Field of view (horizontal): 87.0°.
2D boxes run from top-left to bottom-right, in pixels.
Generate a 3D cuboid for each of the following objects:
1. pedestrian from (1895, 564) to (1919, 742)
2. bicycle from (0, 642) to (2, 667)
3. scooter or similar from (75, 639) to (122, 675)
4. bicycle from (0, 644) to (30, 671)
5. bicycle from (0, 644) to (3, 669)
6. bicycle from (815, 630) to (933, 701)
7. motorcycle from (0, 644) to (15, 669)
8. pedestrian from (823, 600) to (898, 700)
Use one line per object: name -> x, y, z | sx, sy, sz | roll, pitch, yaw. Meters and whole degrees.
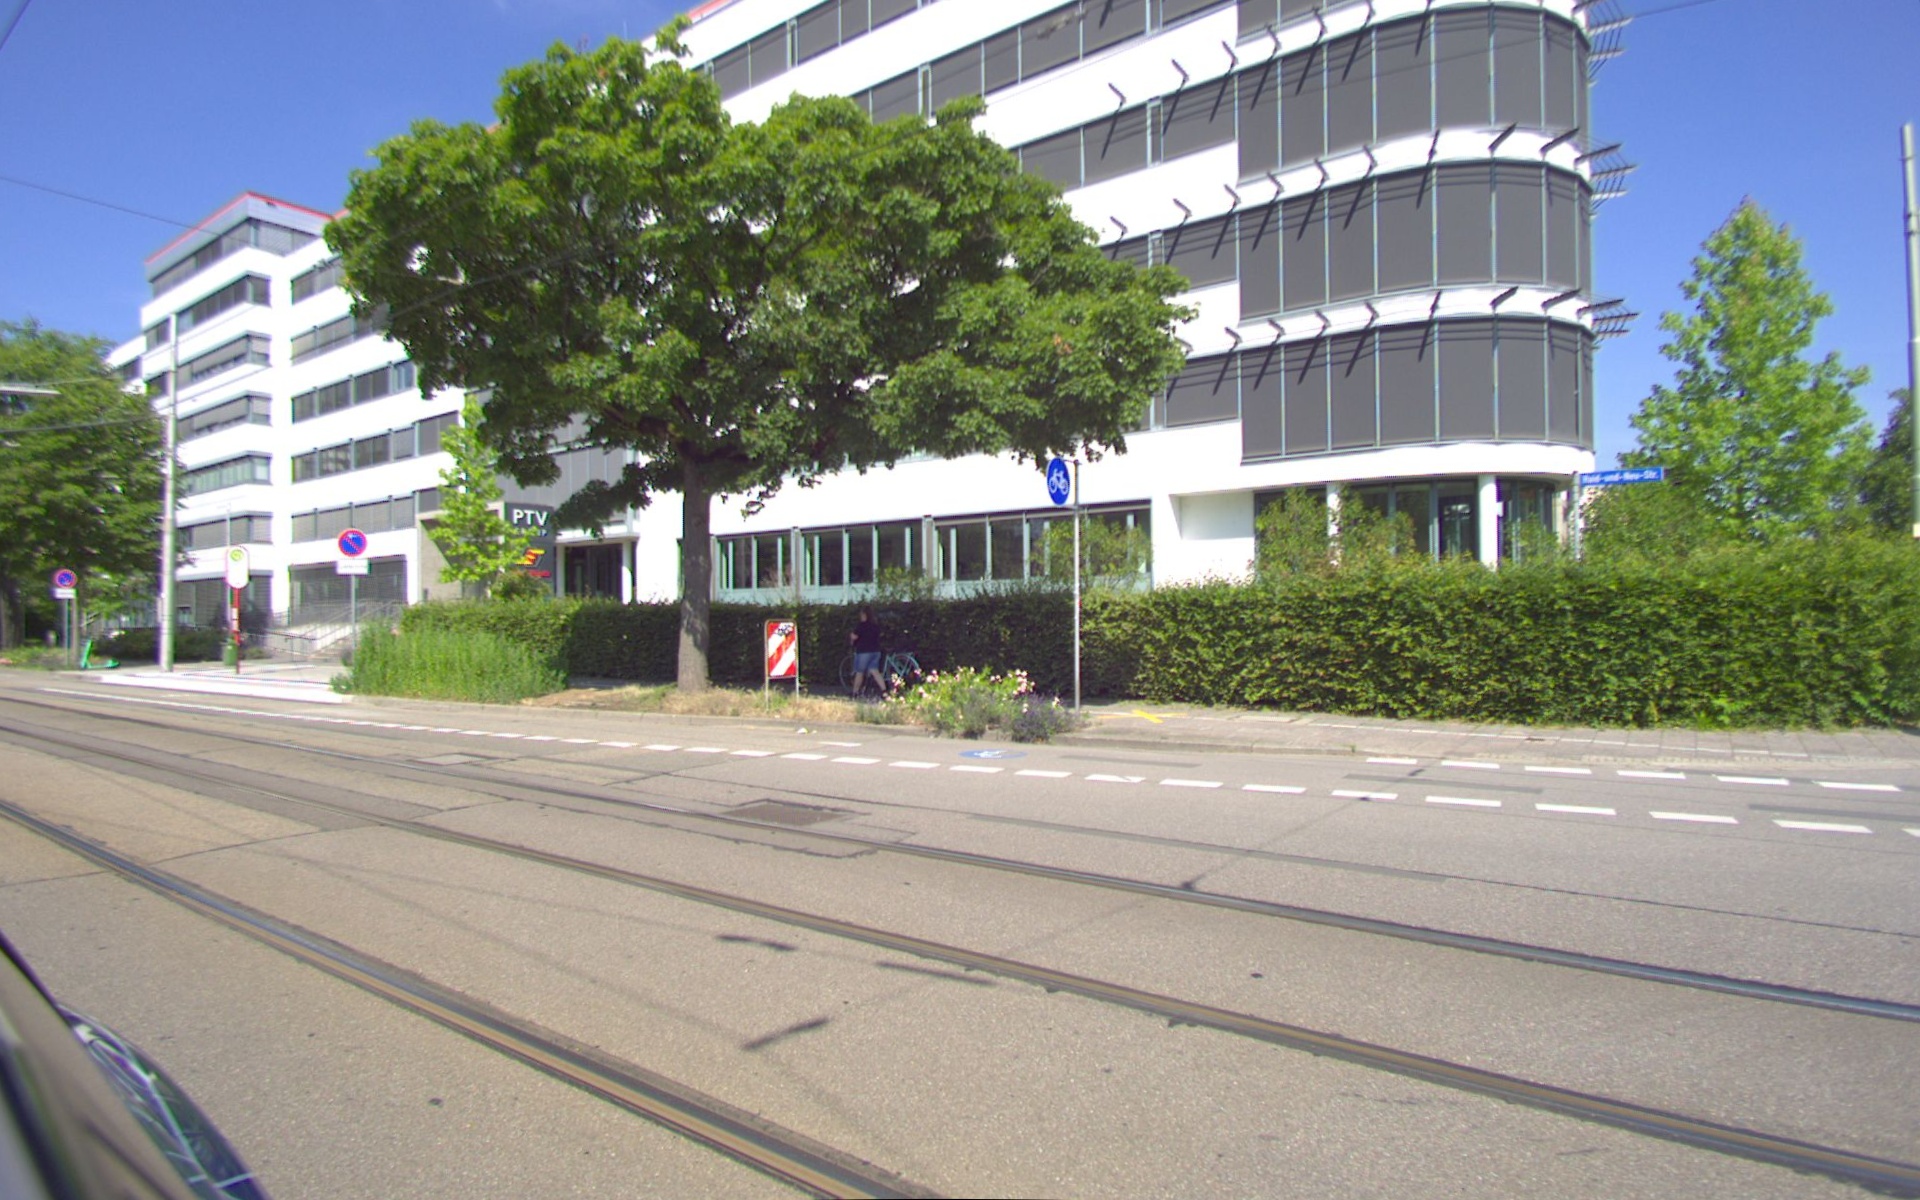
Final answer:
pedestrian -> 10.440, 0.534, 10.276 | 1.056, 1.832, 0.894 | 0, -2, -12
bicycle -> -43.492, 2.432, 44.603 | 0.725, 1.094, 1.776 | -2, -2, 36
scooter or similar -> -29.080, 1.923, 34.168 | 0.675, 1.175, 1.115 | -2, -2, 39
bicycle -> -39.838, 2.395, 41.994 | 0.788, 1.094, 1.709 | -2, -2, 36
bicycle -> -42.845, 2.481, 43.985 | 0.638, 1.094, 1.709 | -2, -2, 36
bicycle -> -1.468, 1.078, 17.029 | 2.063, 1.126, 0.630 | -2, -2, 36
motorcycle -> -41.637, 2.435, 43.274 | 0.657, 1.094, 1.709 | -2, -2, 36
pedestrian -> -1.631, 0.805, 16.624 | 0.985, 1.575, 0.681 | -2, 0, 32
